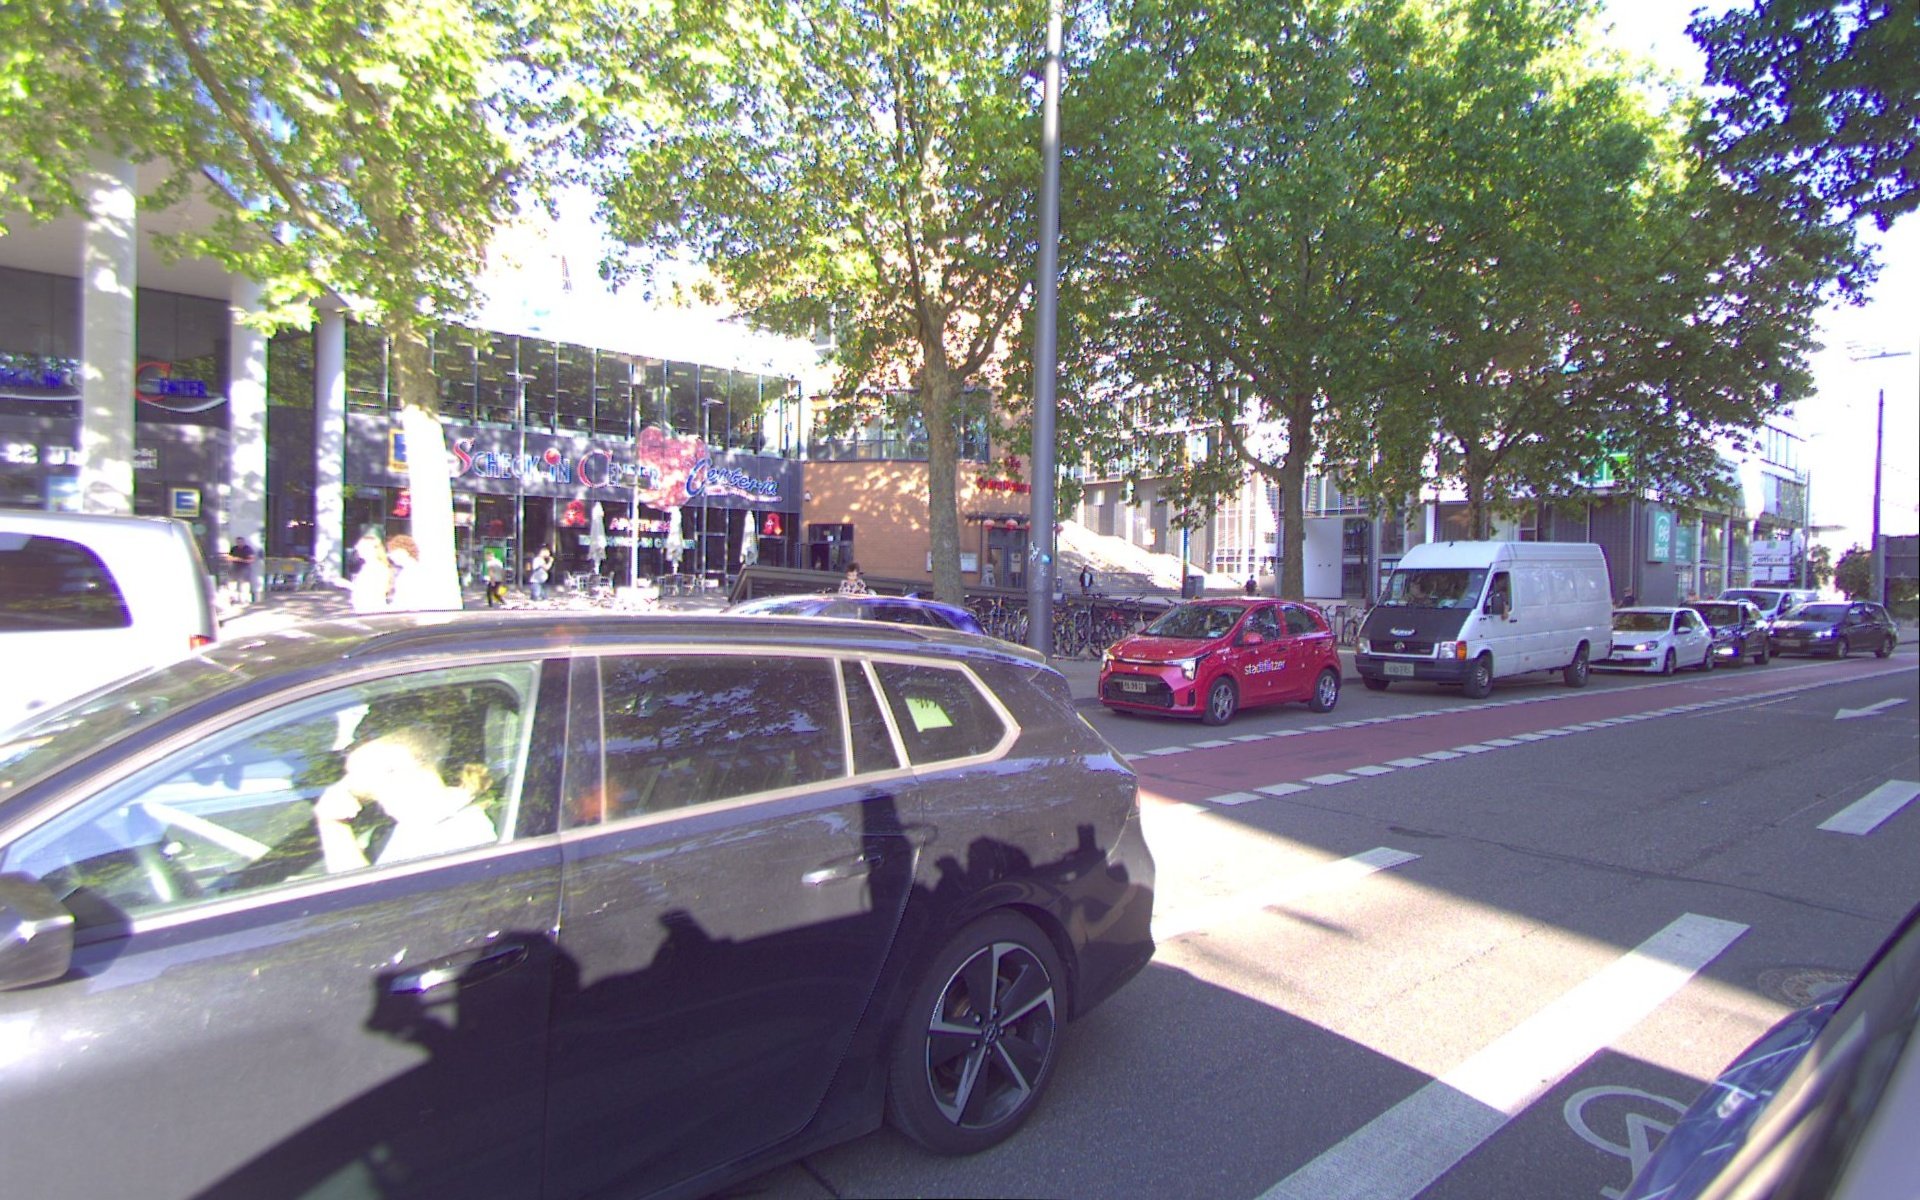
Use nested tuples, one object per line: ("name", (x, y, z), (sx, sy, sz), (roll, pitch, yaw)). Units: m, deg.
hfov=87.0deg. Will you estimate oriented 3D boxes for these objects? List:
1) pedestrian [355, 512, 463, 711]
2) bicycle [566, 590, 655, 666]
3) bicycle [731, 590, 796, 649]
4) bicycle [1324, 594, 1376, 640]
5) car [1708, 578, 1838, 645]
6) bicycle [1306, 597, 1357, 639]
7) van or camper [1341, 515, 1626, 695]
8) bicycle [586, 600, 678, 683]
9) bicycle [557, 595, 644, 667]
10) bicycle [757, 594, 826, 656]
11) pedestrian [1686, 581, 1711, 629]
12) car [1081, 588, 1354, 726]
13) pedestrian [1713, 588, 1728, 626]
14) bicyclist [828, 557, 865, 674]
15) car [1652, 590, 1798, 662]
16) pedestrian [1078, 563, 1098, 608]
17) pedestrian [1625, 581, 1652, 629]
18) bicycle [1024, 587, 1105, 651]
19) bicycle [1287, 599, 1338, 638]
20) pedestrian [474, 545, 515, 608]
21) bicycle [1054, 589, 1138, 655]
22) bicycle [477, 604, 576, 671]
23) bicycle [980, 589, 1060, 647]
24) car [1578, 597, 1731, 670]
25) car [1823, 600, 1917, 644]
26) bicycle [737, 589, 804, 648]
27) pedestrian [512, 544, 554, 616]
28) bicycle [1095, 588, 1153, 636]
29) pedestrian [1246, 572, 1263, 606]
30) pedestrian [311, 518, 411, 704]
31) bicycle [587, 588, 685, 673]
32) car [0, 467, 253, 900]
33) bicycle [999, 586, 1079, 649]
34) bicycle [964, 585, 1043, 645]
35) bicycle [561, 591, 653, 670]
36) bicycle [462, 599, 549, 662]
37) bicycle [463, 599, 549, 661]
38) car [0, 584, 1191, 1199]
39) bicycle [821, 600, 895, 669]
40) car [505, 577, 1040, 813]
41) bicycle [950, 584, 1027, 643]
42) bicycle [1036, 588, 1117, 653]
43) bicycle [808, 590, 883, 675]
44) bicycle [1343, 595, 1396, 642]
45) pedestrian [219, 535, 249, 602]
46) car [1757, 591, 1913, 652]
("pedestrian", (-5.456, 0.098, 10.018), (0.800, 1.868, 0.642), (1, 1, -42))
("bicycle", (-5.363, 0.408, 15.591), (0.372, 1.110, 1.269), (2, 1, 41))
("bicycle", (-3.892, 0.374, 20.052), (1.202, 1.110, 0.429), (0, 1, -40))
("bicycle", (10.661, 0.444, 27.635), (1.818, 1.209, 0.495), (0, 2, -41))
("car", (26.407, 0.348, 32.823), (4.863, 2.020, 1.968), (0, 1, -35))
("bicycle", (10.305, 0.477, 28.048), (1.766, 1.108, 0.522), (0, 2, -41))
("van or camper", (9.258, 0.059, 17.554), (6.456, 2.611, 1.998), (0, 0, -39))
("bicycle", (-4.584, 0.566, 14.184), (1.202, 1.110, 0.269), (0, 1, -40))
("bicycle", (-5.778, 0.476, 16.303), (0.414, 1.110, 1.269), (2, 1, 41))
("bicycle", (-3.131, 0.446, 18.830), (1.202, 1.110, 0.427), (0, 1, -40))
("pedestrian", (27.461, 0.179, 37.633), (0.443, 1.790, 0.627), (0, 1, -39))
("car", (3.336, 0.611, 12.814), (3.588, 1.476, 1.605), (0, 1, -41))
("pedestrian", (28.690, 0.257, 38.184), (0.492, 1.392, 0.301), (0, 1, -37))
("bicyclist", (-1.772, 0.230, 15.783), (0.392, 1.782, 0.390), (0, 1, -41))
("car", (19.142, 0.595, 25.281), (4.148, 1.640, 1.819), (0, 1, -36))
("pedestrian", (5.906, -0.668, 46.857), (0.861, 2.062, 0.585), (1, 1, 6))
("pedestrian", (25.569, 0.184, 38.139), (0.516, 1.790, 0.716), (0, 1, -39))
("bicycle", (2.106, 0.365, 20.262), (1.818, 1.209, 0.484), (0, 2, -41))
("bicycle", (9.921, 0.508, 28.458), (1.818, 1.046, 0.515), (0, 2, -41))
("pedestrian", (-12.869, -0.652, 27.985), (0.801, 1.728, 0.709), (2, 1, 34))
("bicycle", (2.617, 0.401, 19.368), (1.818, 1.209, 0.481), (0, 2, -41))
("bicycle", (-6.242, 0.520, 14.599), (1.231, 0.898, 0.462), (0, 1, -40))
("bicycle", (1.252, 0.354, 20.972), (1.818, 1.139, 0.484), (0, 2, -41))
("car", (15.313, 0.680, 22.259), (3.927, 1.446, 1.683), (0, 1, -38))
("car", (32.107, 0.745, 35.692), (3.927, 1.394, 1.802), (0, 2, -38))
("bicycle", (-3.647, 0.345, 19.509), (1.202, 1.110, 0.444), (0, 1, -40))
("pedestrian", (-10.824, -0.511, 25.686), (0.869, 1.805, 0.604), (1, 1, -11))
("bicycle", (4.401, 0.308, 27.052), (1.759, 1.209, 0.517), (0, 2, -41))
("pedestrian", (13.934, -0.525, 47.917), (0.707, 1.578, 0.638), (1, 1, 14))
("pedestrian", (-6.103, 0.097, 10.305), (0.751, 1.799, 0.647), (1, 1, -42))
("bicycle", (-4.439, 0.401, 13.887), (1.202, 1.110, 0.413), (0, 1, -40))
("car", (-6.222, 0.359, 4.386), (5.008, 2.004, 1.940), (0, 2, -41))
("bicycle", (1.625, 0.341, 20.523), (1.818, 1.209, 0.447), (0, 1, -41))
("bicycle", (0.931, 0.299, 21.351), (1.818, 1.209, 0.458), (0, 1, -41))
("bicycle", (-5.161, 0.426, 14.843), (1.202, 1.110, 0.396), (0, 1, -40))
("bicycle", (-6.962, 0.455, 15.546), (1.198, 0.930, 0.442), (1, 1, -22))
("bicycle", (-7.125, 0.465, 15.924), (1.198, 0.938, 0.465), (1, 1, -22))
("car", (-1.413, 0.687, 2.483), (4.196, 1.432, 1.742), (0, 0, -41))
("bicycle", (-1.713, 0.555, 17.015), (1.202, 1.110, 0.420), (0, 1, -40))
("car", (-1.411, 0.602, 8.616), (4.177, 1.503, 1.742), (0, 2, -41))
("bicycle", (0.633, 0.273, 21.705), (1.818, 1.209, 0.434), (0, 1, -41))
("bicycle", (2.294, 0.390, 19.754), (1.818, 1.209, 0.448), (0, 1, -41))
("bicycle", (-1.777, 0.484, 15.774), (1.126, 1.271, 0.379), (0, 1, -41))
("bicycle", (11.028, 0.481, 27.237), (1.818, 1.209, 0.521), (0, 2, -41))
("pedestrian", (-18.780, -0.802, 26.180), (0.506, 1.707, 0.604), (1, 1, -23))
("car", (25.218, 0.584, 29.155), (4.242, 1.640, 1.970), (0, 1, -28))
